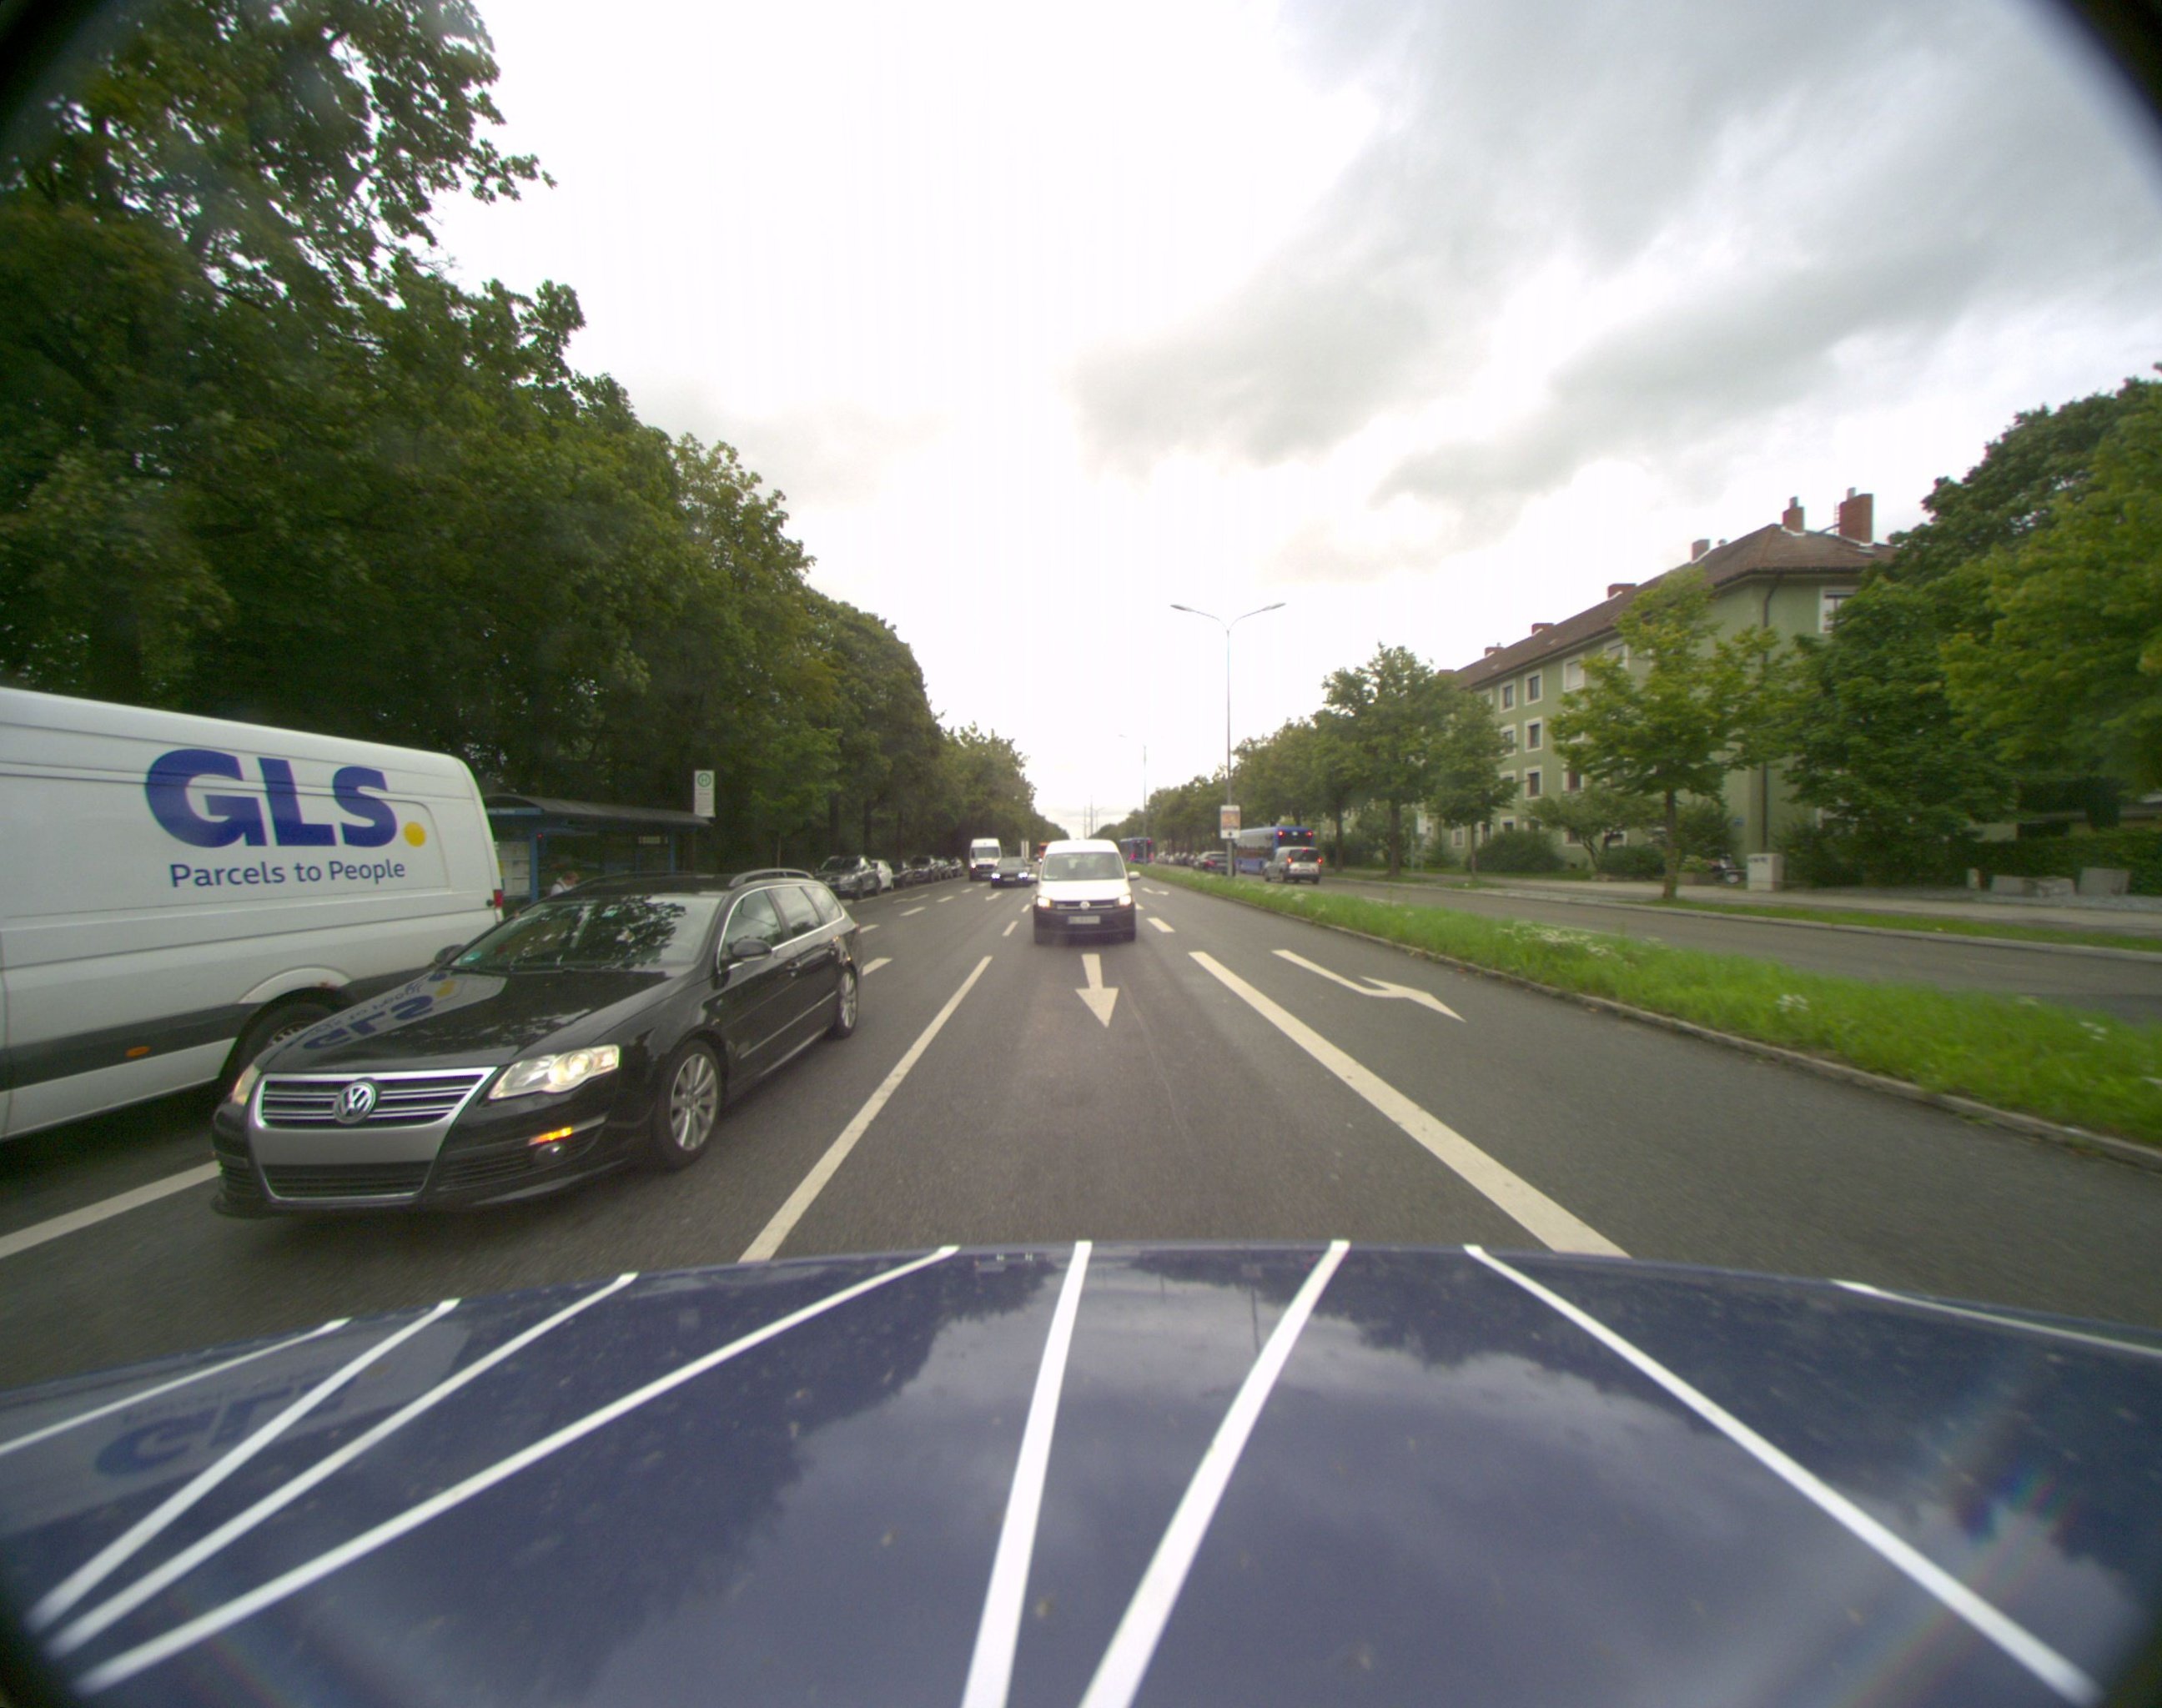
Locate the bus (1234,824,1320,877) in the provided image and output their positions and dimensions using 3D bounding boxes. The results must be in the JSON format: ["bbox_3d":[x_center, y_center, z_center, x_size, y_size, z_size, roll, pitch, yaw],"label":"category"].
[{"bbox_3d":[13.623,-0.271,54.139,2.752,3.324,12.046,1,1,-1],"label":"bus"}]

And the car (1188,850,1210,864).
[{"bbox_3d":[13.563,0.317,87.622,1.857,1.454,3.909,-2,0,0],"label":"car"}]

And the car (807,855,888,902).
[{"bbox_3d":[-9.173,0.910,30.204,1.884,1.640,4.396,-1,1,-1],"label":"car"}]

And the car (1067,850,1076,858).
[{"bbox_3d":[-2.272,0.007,176.783,1.998,2.002,4.000,0,1,1],"label":"car"}]

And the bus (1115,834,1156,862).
[{"bbox_3d":[6.770,-0.781,96.411,2.754,3.324,12.263,1,1,-8],"label":"bus"}]

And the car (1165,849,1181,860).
[{"bbox_3d":[13.246,0.079,109.658,1.857,1.454,3.909,-2,0,0],"label":"car"}]

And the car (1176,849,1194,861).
[{"bbox_3d":[13.489,0.148,98.775,1.857,1.454,3.909,-2,0,0],"label":"car"}]

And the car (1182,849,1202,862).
[{"bbox_3d":[13.516,0.191,92.667,1.857,1.454,3.909,-2,0,0],"label":"car"}]

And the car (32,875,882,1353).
[{"bbox_3d":[-2.789,0.979,5.008,1.752,1.466,4.670,-1,1,-1],"label":"car"}]

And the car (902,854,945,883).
[{"bbox_3d":[-9.547,0.821,46.346,1.752,1.640,4.254,-1,1,-1],"label":"car"}]

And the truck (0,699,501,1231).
[{"bbox_3d":[-6.258,0.560,3.250,1.999,2.589,7.225,-1,1,-1],"label":"truck"}]

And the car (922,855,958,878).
[{"bbox_3d":[-9.610,0.847,51.920,1.752,1.459,4.037,-1,1,-1],"label":"car"}]

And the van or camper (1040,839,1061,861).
[{"bbox_3d":[-4.519,-0.659,114.176,2.780,3.219,7.074,-1,1,1],"label":"van or camper"}]

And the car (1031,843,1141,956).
[{"bbox_3d":[0.047,0.716,14.613,1.752,1.809,4.670,-1,1,-1],"label":"car"}]

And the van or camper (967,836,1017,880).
[{"bbox_3d":[-5.530,0.219,48.255,2.183,2.546,7.074,-1,1,1],"label":"van or camper"}]

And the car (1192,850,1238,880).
[{"bbox_3d":[7.573,0.593,43.280,1.702,1.561,4.290,-1,1,-2],"label":"car"}]

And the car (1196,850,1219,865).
[{"bbox_3d":[13.610,0.357,81.811,1.857,1.454,3.909,-2,0,0],"label":"car"}]

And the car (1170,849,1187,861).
[{"bbox_3d":[13.341,0.117,103.904,1.857,1.454,3.909,-2,0,0],"label":"car"}]

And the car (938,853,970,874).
[{"bbox_3d":[-9.484,0.685,56.941,1.752,1.459,4.254,-1,1,-1],"label":"car"}]

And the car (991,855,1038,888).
[{"bbox_3d":[-3.203,0.827,37.458,1.819,1.421,4.671,-2,0,1],"label":"car"}]

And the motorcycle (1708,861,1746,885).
[{"bbox_3d":[25.261,0.735,29.725,0.434,0.877,1.234,-1,1,-1],"label":"motorcycle"}]

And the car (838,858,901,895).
[{"bbox_3d":[-9.684,0.998,35.137,1.752,1.515,4.396,-1,1,-1],"label":"car"}]

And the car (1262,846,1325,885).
[{"bbox_3d":[10.689,0.544,38.515,1.784,1.801,4.429,2,1,-2],"label":"car"}]

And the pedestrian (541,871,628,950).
[{"bbox_3d":[-9.400,1.060,14.416,1.157,1.375,0.611,-3,1,-2],"label":"pedestrian"}]

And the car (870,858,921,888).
[{"bbox_3d":[-9.856,0.982,40.673,1.752,1.420,4.254,-1,1,-1],"label":"car"}]
